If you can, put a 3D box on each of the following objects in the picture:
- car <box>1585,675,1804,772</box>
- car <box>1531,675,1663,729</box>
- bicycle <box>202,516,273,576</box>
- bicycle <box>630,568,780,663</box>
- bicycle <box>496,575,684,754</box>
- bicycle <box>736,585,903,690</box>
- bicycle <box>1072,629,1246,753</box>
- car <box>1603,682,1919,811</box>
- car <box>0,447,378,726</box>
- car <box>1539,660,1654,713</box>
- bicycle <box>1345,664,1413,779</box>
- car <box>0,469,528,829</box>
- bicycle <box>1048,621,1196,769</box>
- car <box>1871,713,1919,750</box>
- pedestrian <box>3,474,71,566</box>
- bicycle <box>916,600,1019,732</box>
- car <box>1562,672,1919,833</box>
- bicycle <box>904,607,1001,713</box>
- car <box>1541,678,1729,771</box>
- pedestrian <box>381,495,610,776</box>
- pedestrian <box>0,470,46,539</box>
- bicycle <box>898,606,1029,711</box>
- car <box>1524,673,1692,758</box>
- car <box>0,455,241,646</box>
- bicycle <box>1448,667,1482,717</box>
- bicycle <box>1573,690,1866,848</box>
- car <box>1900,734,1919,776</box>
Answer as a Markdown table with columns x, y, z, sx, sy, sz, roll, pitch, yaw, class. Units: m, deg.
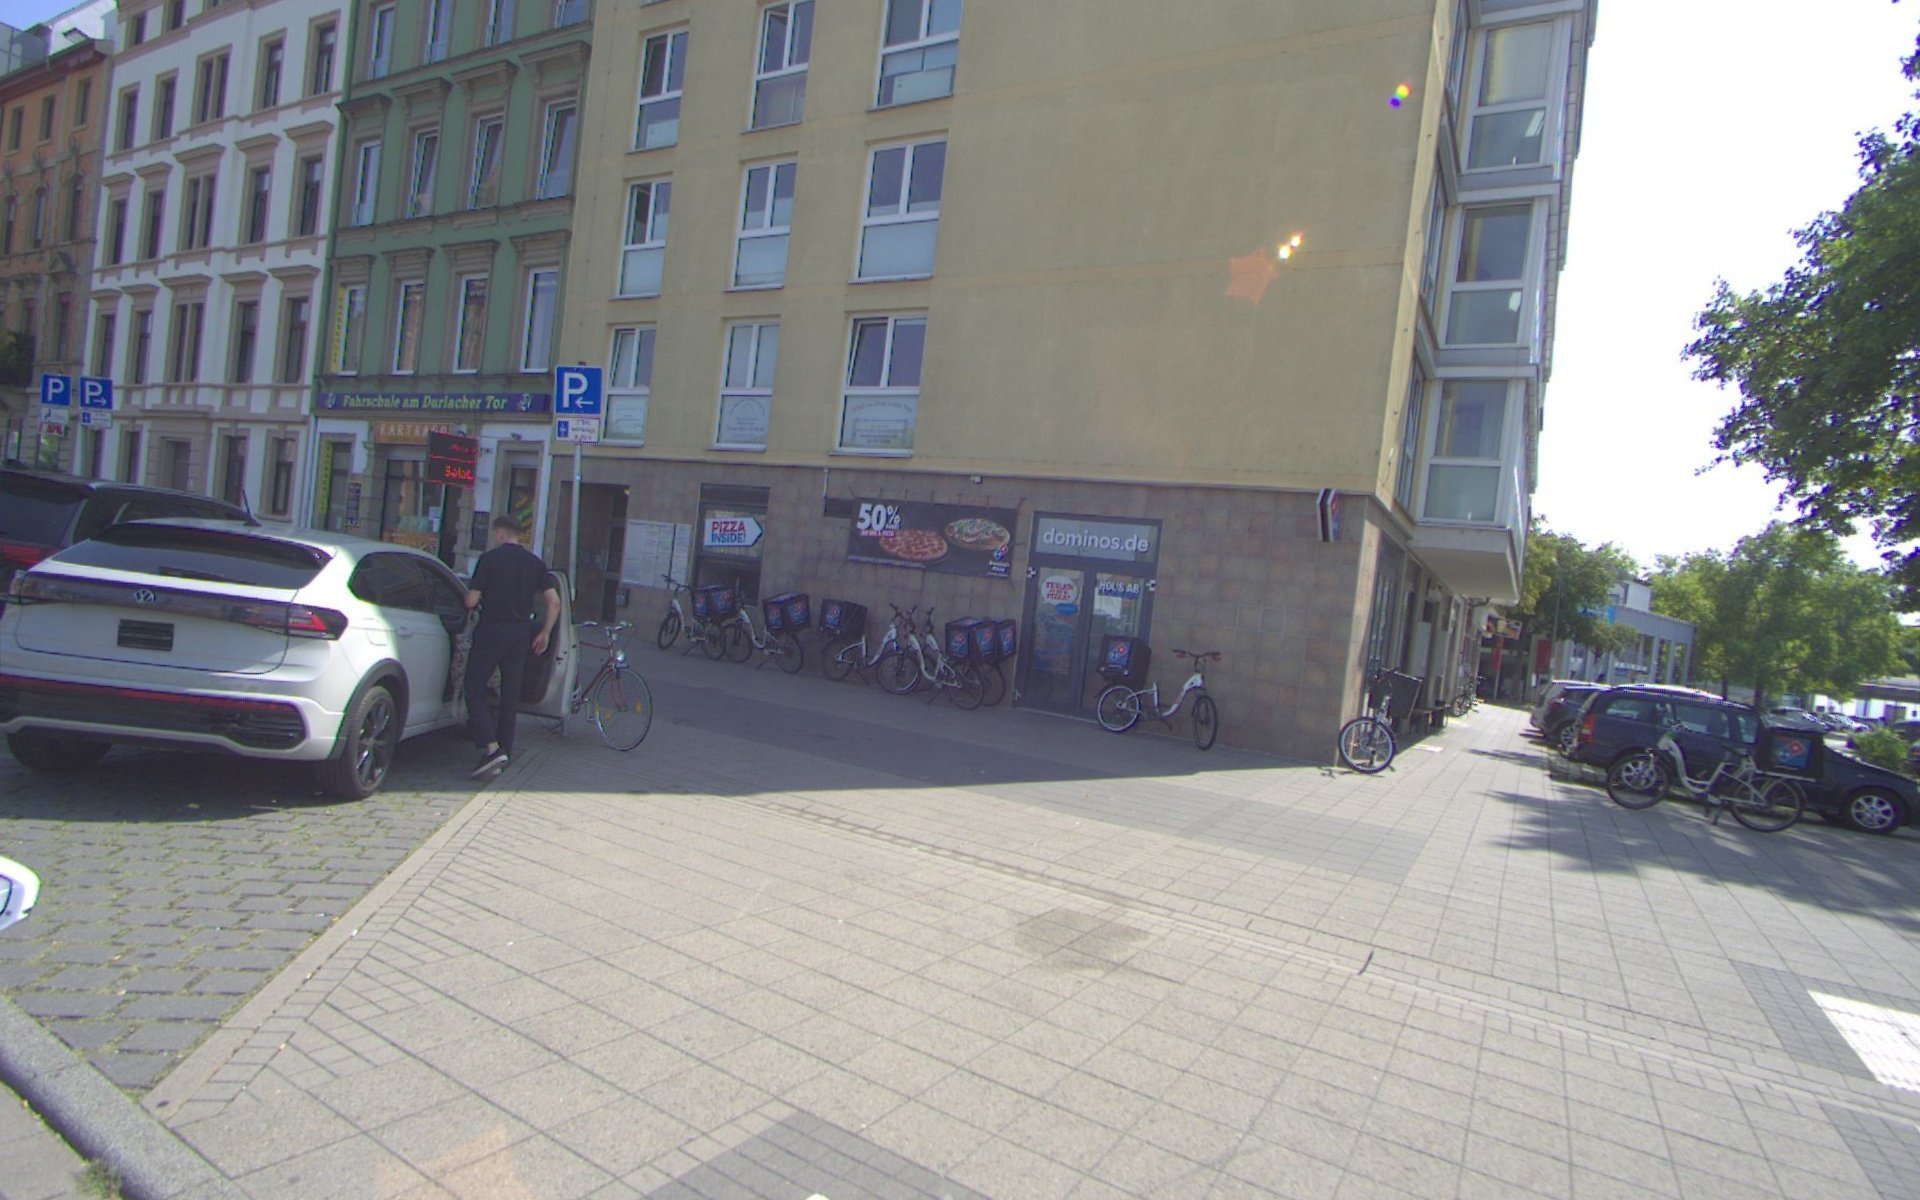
| x | y | z | sx | sy | sz | roll | pitch | yaw | class |
| --- | --- | --- | --- | --- | --- | --- | --- | --- | --- |
| 18.117 | 3.001 | 25.079 | 4.003 | 1.687 | 1.788 | 7 | 1 | 28 | car |
| 24.264 | 3.861 | 38.504 | 4.003 | 1.415 | 1.788 | 7 | 1 | 28 | car |
| -17.860 | -1.349 | 24.847 | 2.430 | 1.161 | 0.480 | 9 | 2 | 33 | bicycle |
| -4.222 | 0.249 | 16.566 | 2.383 | 1.254 | 0.939 | 7 | 1 | 34 | bicycle |
| -3.228 | 0.516 | 8.706 | 1.762 | 1.313 | 0.473 | 6 | 1 | 33 | bicycle |
| -2.156 | 0.553 | 15.258 | 2.383 | 1.254 | 0.939 | 7 | 1 | 34 | bicycle |
| 2.519 | 1.122 | 12.814 | 1.927 | 1.262 | 0.729 | 7 | 1 | 30 | bicycle |
| 14.383 | 2.556 | 18.350 | 4.173 | 1.489 | 1.903 | 7 | 1 | 28 | car |
| -6.866 | -0.201 | 8.438 | 1.954 | 1.708 | 4.382 | 7 | 0 | -11 | car |
| 28.057 | 3.783 | 44.508 | 4.003 | 1.687 | 1.788 | 7 | 1 | 28 | car |
| 5.142 | 1.438 | 12.334 | 0.579 | 1.222 | 1.726 | 7 | 0 | 23 | bicycle |
| -4.350 | 0.241 | 6.604 | 1.778 | 1.517 | 3.780 | 9 | -2 | -10 | car |
| 1.929 | 1.084 | 12.741 | 0.888 | 1.422 | 3.360 | 6 | 0 | -6 | bicycle |
| 46.633 | 6.521 | 48.774 | 3.493 | 1.508 | 1.606 | 7 | 1 | 43 | car |
| -18.483 | -1.598 | 20.153 | 0.927 | 1.707 | 0.671 | 7 | 2 | 30 | pedestrian |
| 0.015 | 0.782 | 13.511 | 0.888 | 1.422 | 3.360 | 6 | 0 | -6 | bicycle |
| 11.202 | 2.111 | 14.412 | 4.173 | 1.487 | 1.905 | 7 | -2 | 29 | car |
| -0.127 | 0.791 | 13.802 | 0.585 | 1.254 | 1.535 | 6 | 1 | -27 | bicycle |
| 14.239 | 2.586 | 21.417 | 3.044 | 1.403 | 1.501 | 7 | 1 | 28 | car |
| -3.209 | 0.244 | 7.067 | 0.887 | 1.724 | 1.038 | 7 | 0 | 4 | pedestrian |
| -27.206 | -2.765 | 29.119 | 0.674 | 1.871 | 0.842 | 7 | 3 | 21 | pedestrian |
| 0.034 | 0.825 | 14.540 | 1.795 | 1.254 | 0.409 | 7 | 1 | 28 | bicycle |
| 15.053 | 2.645 | 23.540 | 3.044 | 1.447 | 1.401 | 7 | 1 | 28 | car |
| -10.010 | -0.599 | 10.636 | 2.010 | 1.735 | 4.655 | 7 | 0 | -11 | car |
| 14.356 | 2.595 | 28.618 | 0.701 | 1.282 | 1.725 | 7 | 1 | 27 | bicycle |
| 8.296 | 1.804 | 11.170 | 2.394 | 1.254 | 0.793 | 7 | 1 | 30 | bicycle |
| 33.975 | 5.473 | 33.708 | 3.236 | 1.298 | 1.611 | 7 | 1 | 31 | car |
